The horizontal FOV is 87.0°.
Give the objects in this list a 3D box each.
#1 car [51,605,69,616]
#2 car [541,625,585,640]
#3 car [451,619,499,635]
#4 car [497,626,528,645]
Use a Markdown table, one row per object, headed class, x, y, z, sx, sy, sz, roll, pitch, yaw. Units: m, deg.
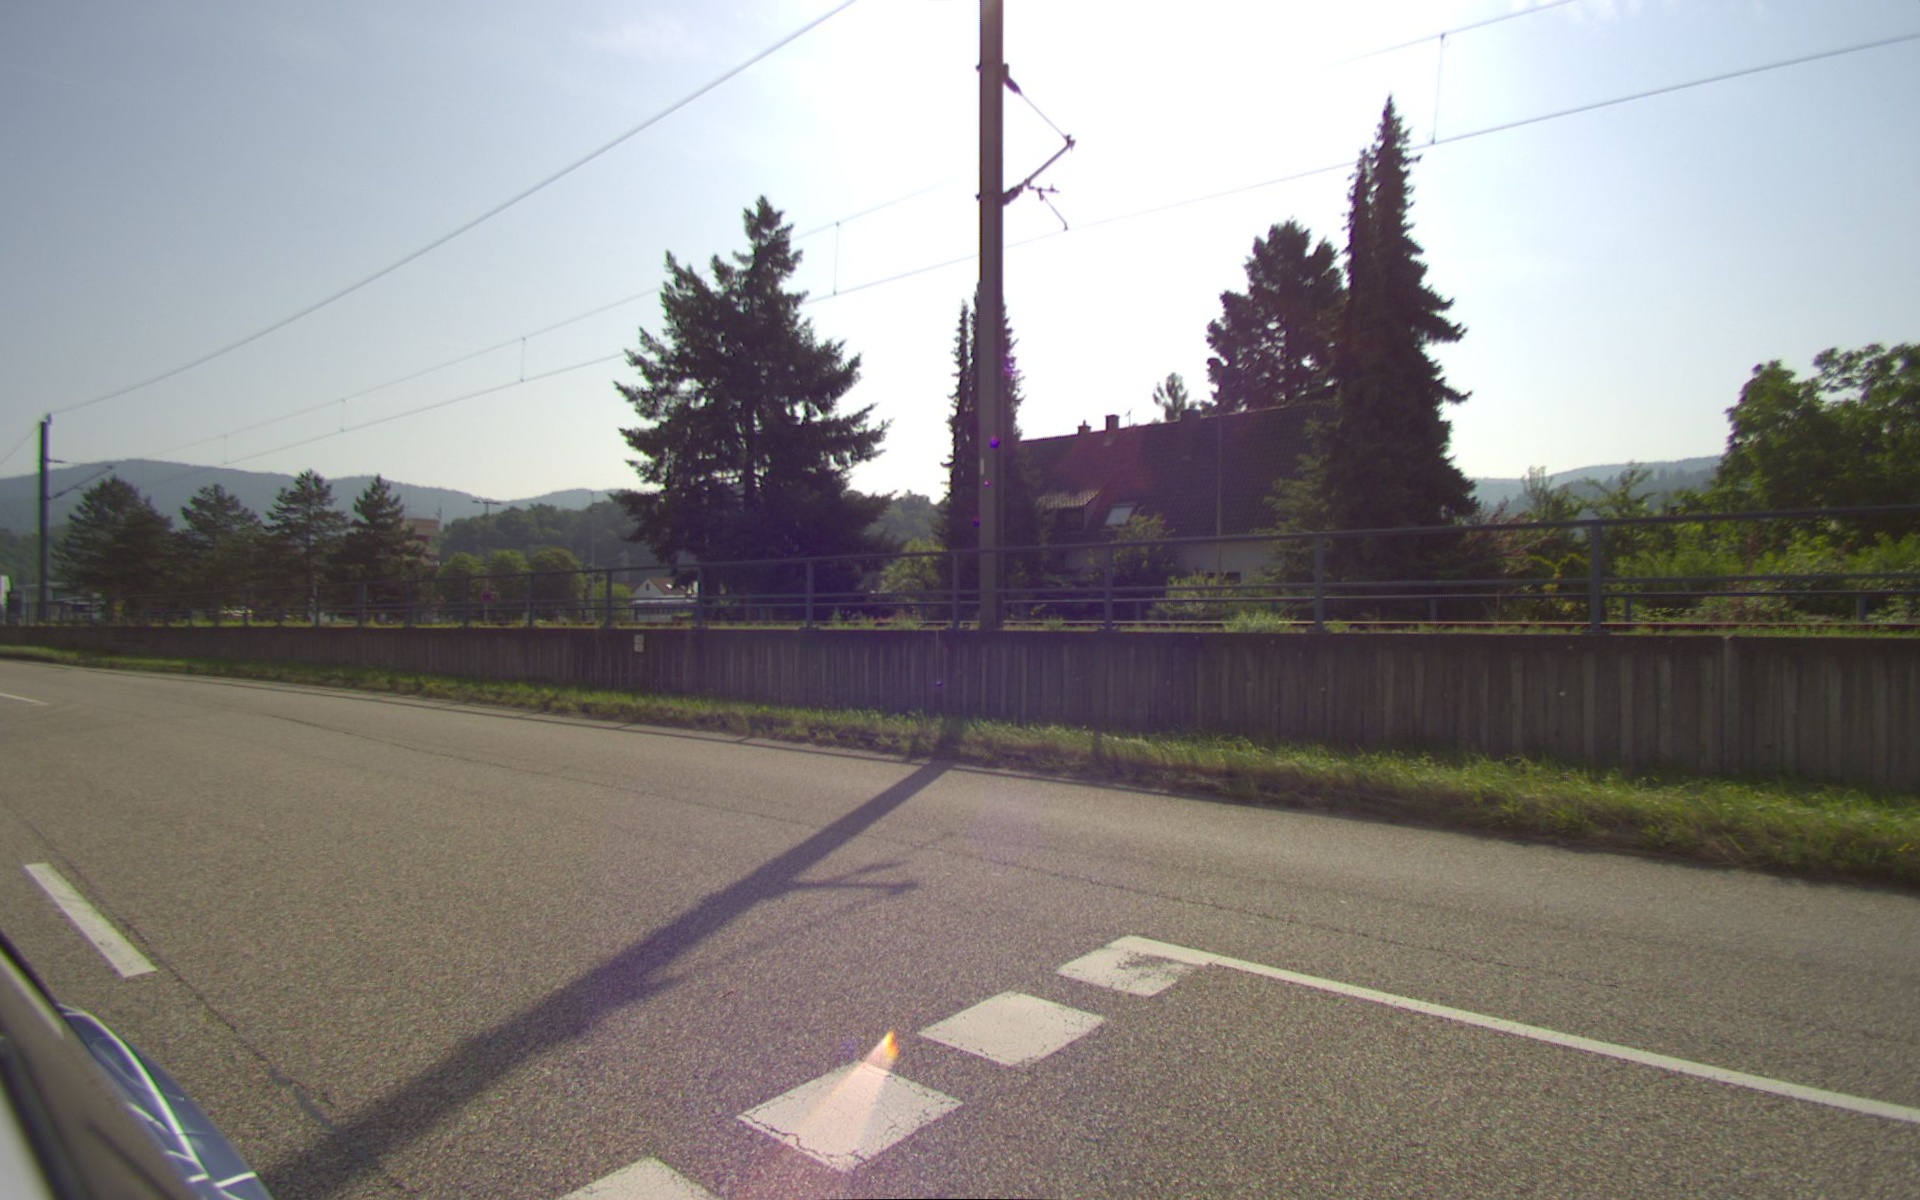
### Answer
| class | x | y | z | sx | sy | sz | roll | pitch | yaw |
| --- | --- | --- | --- | --- | --- | --- | --- | --- | --- |
| car | -176.878 | 2.007 | 198.876 | 4.799 | 2.094 | 1.742 | -1 | 0 | 37 |
| car | -35.144 | 2.890 | 89.657 | 3.476 | 1.335 | 1.462 | 1 | -2 | -18 |
| car | -40.076 | 2.231 | 83.683 | 3.476 | 1.335 | 1.462 | 1 | -2 | -18 |
| car | -32.147 | 2.559 | 72.812 | 1.433 | 1.335 | 3.546 | 1 | -2 | -14 |
